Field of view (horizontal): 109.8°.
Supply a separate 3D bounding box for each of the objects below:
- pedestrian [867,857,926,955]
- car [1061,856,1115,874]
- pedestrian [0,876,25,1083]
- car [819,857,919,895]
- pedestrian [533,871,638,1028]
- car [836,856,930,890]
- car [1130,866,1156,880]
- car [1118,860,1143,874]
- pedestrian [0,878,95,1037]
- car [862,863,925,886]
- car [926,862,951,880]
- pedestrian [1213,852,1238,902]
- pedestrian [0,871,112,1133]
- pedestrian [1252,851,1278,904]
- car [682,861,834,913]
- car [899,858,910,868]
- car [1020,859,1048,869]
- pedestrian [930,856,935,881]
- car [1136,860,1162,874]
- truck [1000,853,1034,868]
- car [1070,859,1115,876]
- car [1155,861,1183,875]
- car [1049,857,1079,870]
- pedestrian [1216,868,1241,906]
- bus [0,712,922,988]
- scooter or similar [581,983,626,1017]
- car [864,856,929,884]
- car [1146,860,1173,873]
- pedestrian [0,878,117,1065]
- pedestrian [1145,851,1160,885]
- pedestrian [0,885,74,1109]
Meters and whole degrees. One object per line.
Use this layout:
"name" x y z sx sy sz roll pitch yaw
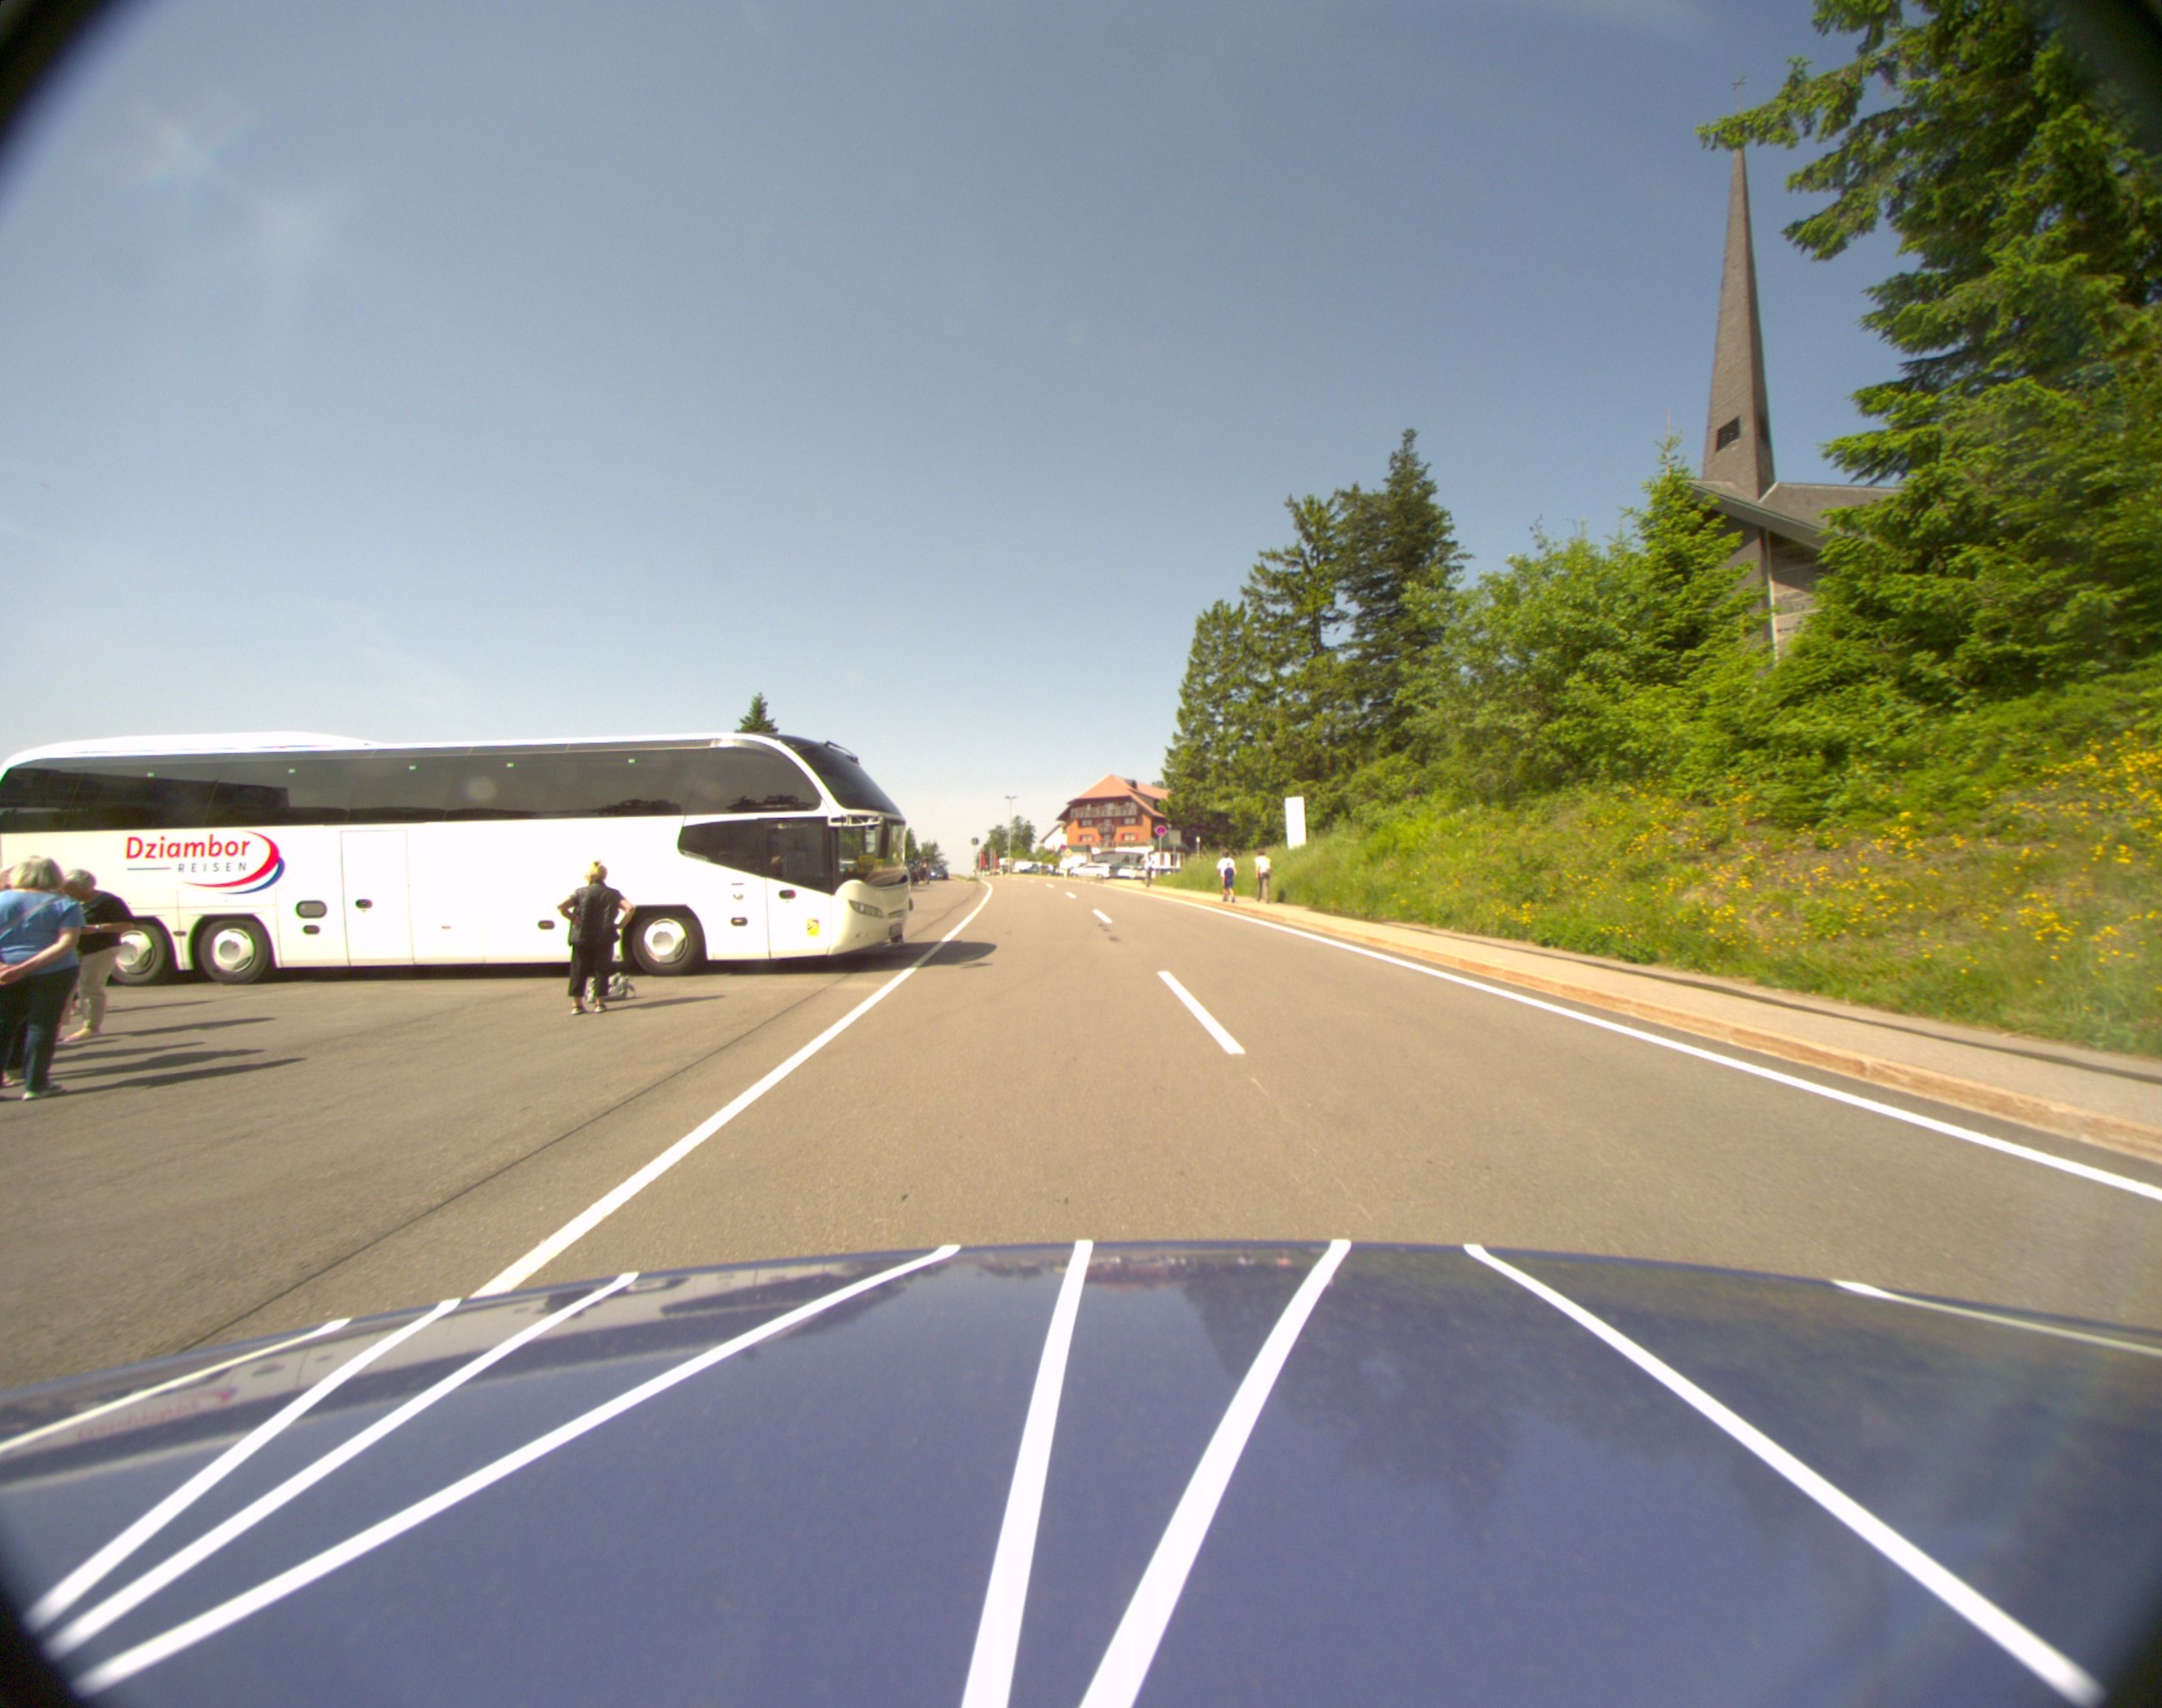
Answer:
"pedestrian" -3.215 0.890 13.310 0.744 1.633 0.709 -3 0 5
"car" 0.741 1.159 79.500 5.351 1.858 2.003 0 0 23
"pedestrian" -9.207 1.034 6.104 0.631 1.688 0.629 -1 1 15
"car" -10.318 1.050 37.297 4.490 1.617 2.012 -2 0 -9
"pedestrian" -5.189 0.964 7.983 0.631 1.558 0.629 -1 1 15
"car" -11.751 1.113 45.456 5.117 1.610 1.999 -4 0 -8
"car" 7.120 2.143 87.344 1.727 1.456 3.527 -1 0 28
"car" 5.854 1.511 90.184 1.710 1.543 3.141 0 0 31
"pedestrian" -11.740 1.123 8.505 0.631 1.687 0.629 -1 1 15
"car" -11.887 1.281 48.275 3.711 1.261 1.563 -2 -1 -9
"car" -13.291 1.535 70.512 2.001 1.537 3.995 -1 0 -14
"pedestrian" 4.540 0.719 23.909 0.582 1.528 0.879 0 0 -5
"pedestrian" -7.514 1.002 5.346 0.631 1.747 0.629 -1 1 15
"pedestrian" 5.757 0.731 23.785 0.577 1.633 0.894 0 0 -2
"car" -10.106 1.020 23.983 3.997 1.411 1.766 -2 0 0
"car" -36.795 1.833 158.217 2.001 2.002 3.994 -1 0 -17
"car" -8.939 1.851 143.282 5.253 1.894 1.999 0 0 -4
"pedestrian" -10.743 1.032 55.072 0.367 1.812 0.549 0 0 -10
"car" 7.500 1.453 83.893 1.636 1.425 3.323 0 -1 29
"truck" -12.610 1.344 150.515 2.863 2.813 8.776 -1 0 24
"car" 1.087 1.272 71.896 3.953 1.578 1.793 0 0 28
"car" 9.130 1.485 78.481 1.709 1.387 3.323 0 -1 29
"car" -2.164 1.222 95.999 3.325 1.583 1.720 0 0 35
"pedestrian" 4.424 0.981 22.788 0.570 1.095 0.744 0 0 -2
"bus" -9.211 0.000 11.667 12.876 3.556 2.839 -1 0 3
"scooter or similar" -5.427 1.658 8.644 0.285 0.309 0.327 -1 0 10
"car" -13.010 1.131 53.793 4.327 1.811 1.998 -1 0 -9
"car" 8.393 1.328 80.815 1.714 1.425 3.322 0 0 29
"pedestrian" -9.856 1.072 7.223 0.631 1.669 0.629 -1 1 15
"pedestrian" 3.633 0.710 38.397 0.581 1.731 0.686 0 0 -12
"pedestrian" -8.285 1.069 5.765 0.630 1.641 0.629 -1 1 25
